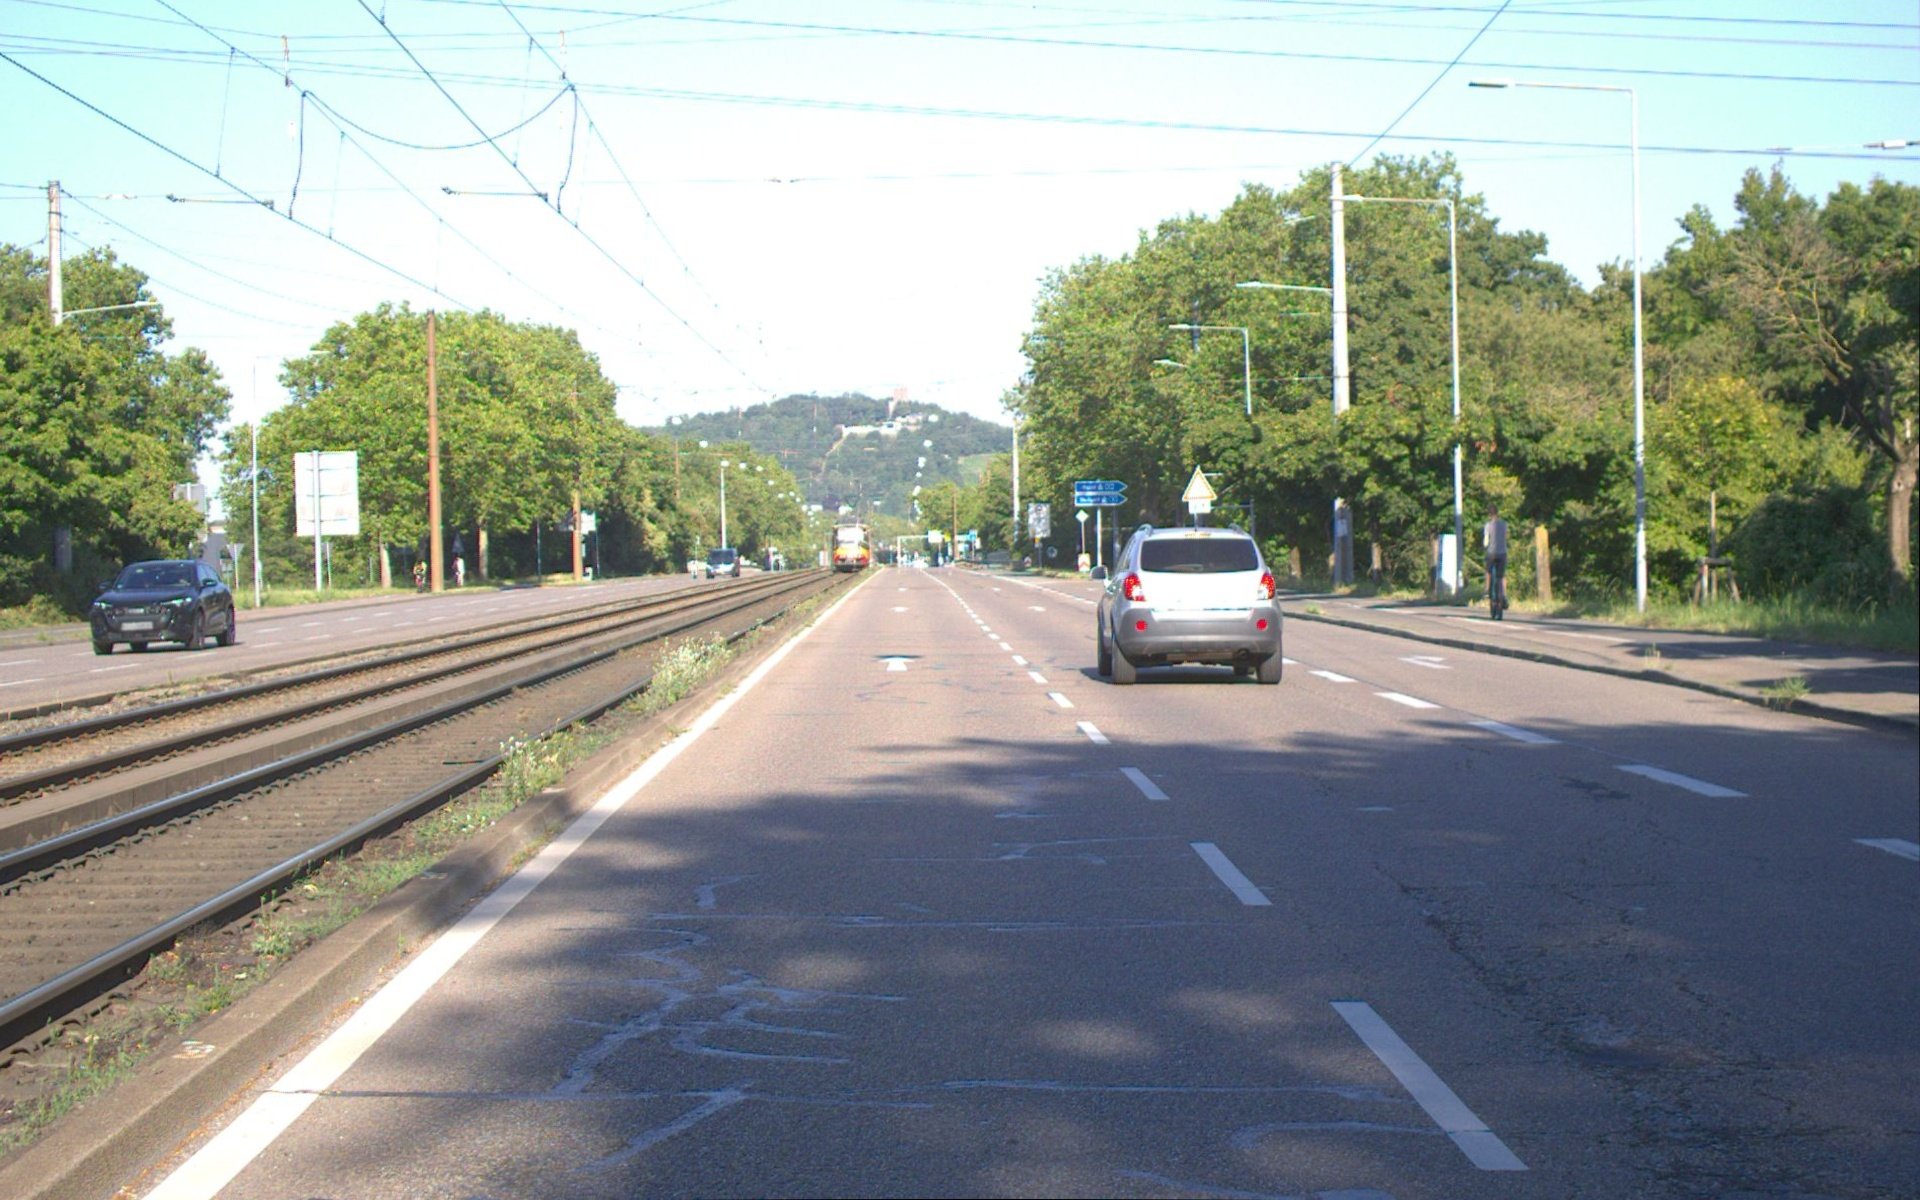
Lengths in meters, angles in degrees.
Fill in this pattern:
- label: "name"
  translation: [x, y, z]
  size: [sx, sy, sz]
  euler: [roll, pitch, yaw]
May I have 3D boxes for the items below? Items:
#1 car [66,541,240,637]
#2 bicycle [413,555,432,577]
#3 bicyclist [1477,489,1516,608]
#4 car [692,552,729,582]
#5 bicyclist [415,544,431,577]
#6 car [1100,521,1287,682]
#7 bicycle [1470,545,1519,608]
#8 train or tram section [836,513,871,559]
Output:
- label: "car"
  translation: [-14.624, -0.216, 62.553]
  size: [1.993, 1.619, 4.683]
  euler: [-2, 0, 0]
- label: "bicycle"
  translation: [-24.794, -1.559, 158.670]
  size: [0.590, 1.018, 2.186]
  euler: [-1, 1, -2]
- label: "bicyclist"
  translation: [9.183, -0.875, 58.842]
  size: [0.527, 2.010, 0.729]
  euler: [1, 0, 0]
- label: "car"
  translation: [-16.343, -2.179, 225.566]
  size: [1.993, 1.916, 4.860]
  euler: [-1, 0, 1]
- label: "bicyclist"
  translation: [-24.793, -1.817, 158.719]
  size: [0.590, 1.523, 0.906]
  euler: [-1, 0, -1]
- label: "car"
  translation: [2.540, 0.000, 38.272]
  size: [1.888, 1.688, 4.256]
  euler: [0, 0, 1]
- label: "bicycle"
  translation: [9.177, -0.411, 59.100]
  size: [0.527, 1.057, 1.971]
  euler: [1, 0, 0]
- label: "train or tram section"
  translation: [-7.705, -4.586, 249.386]
  size: [2.310, 3.206, 9.476]
  euler: [1, 0, -1]
